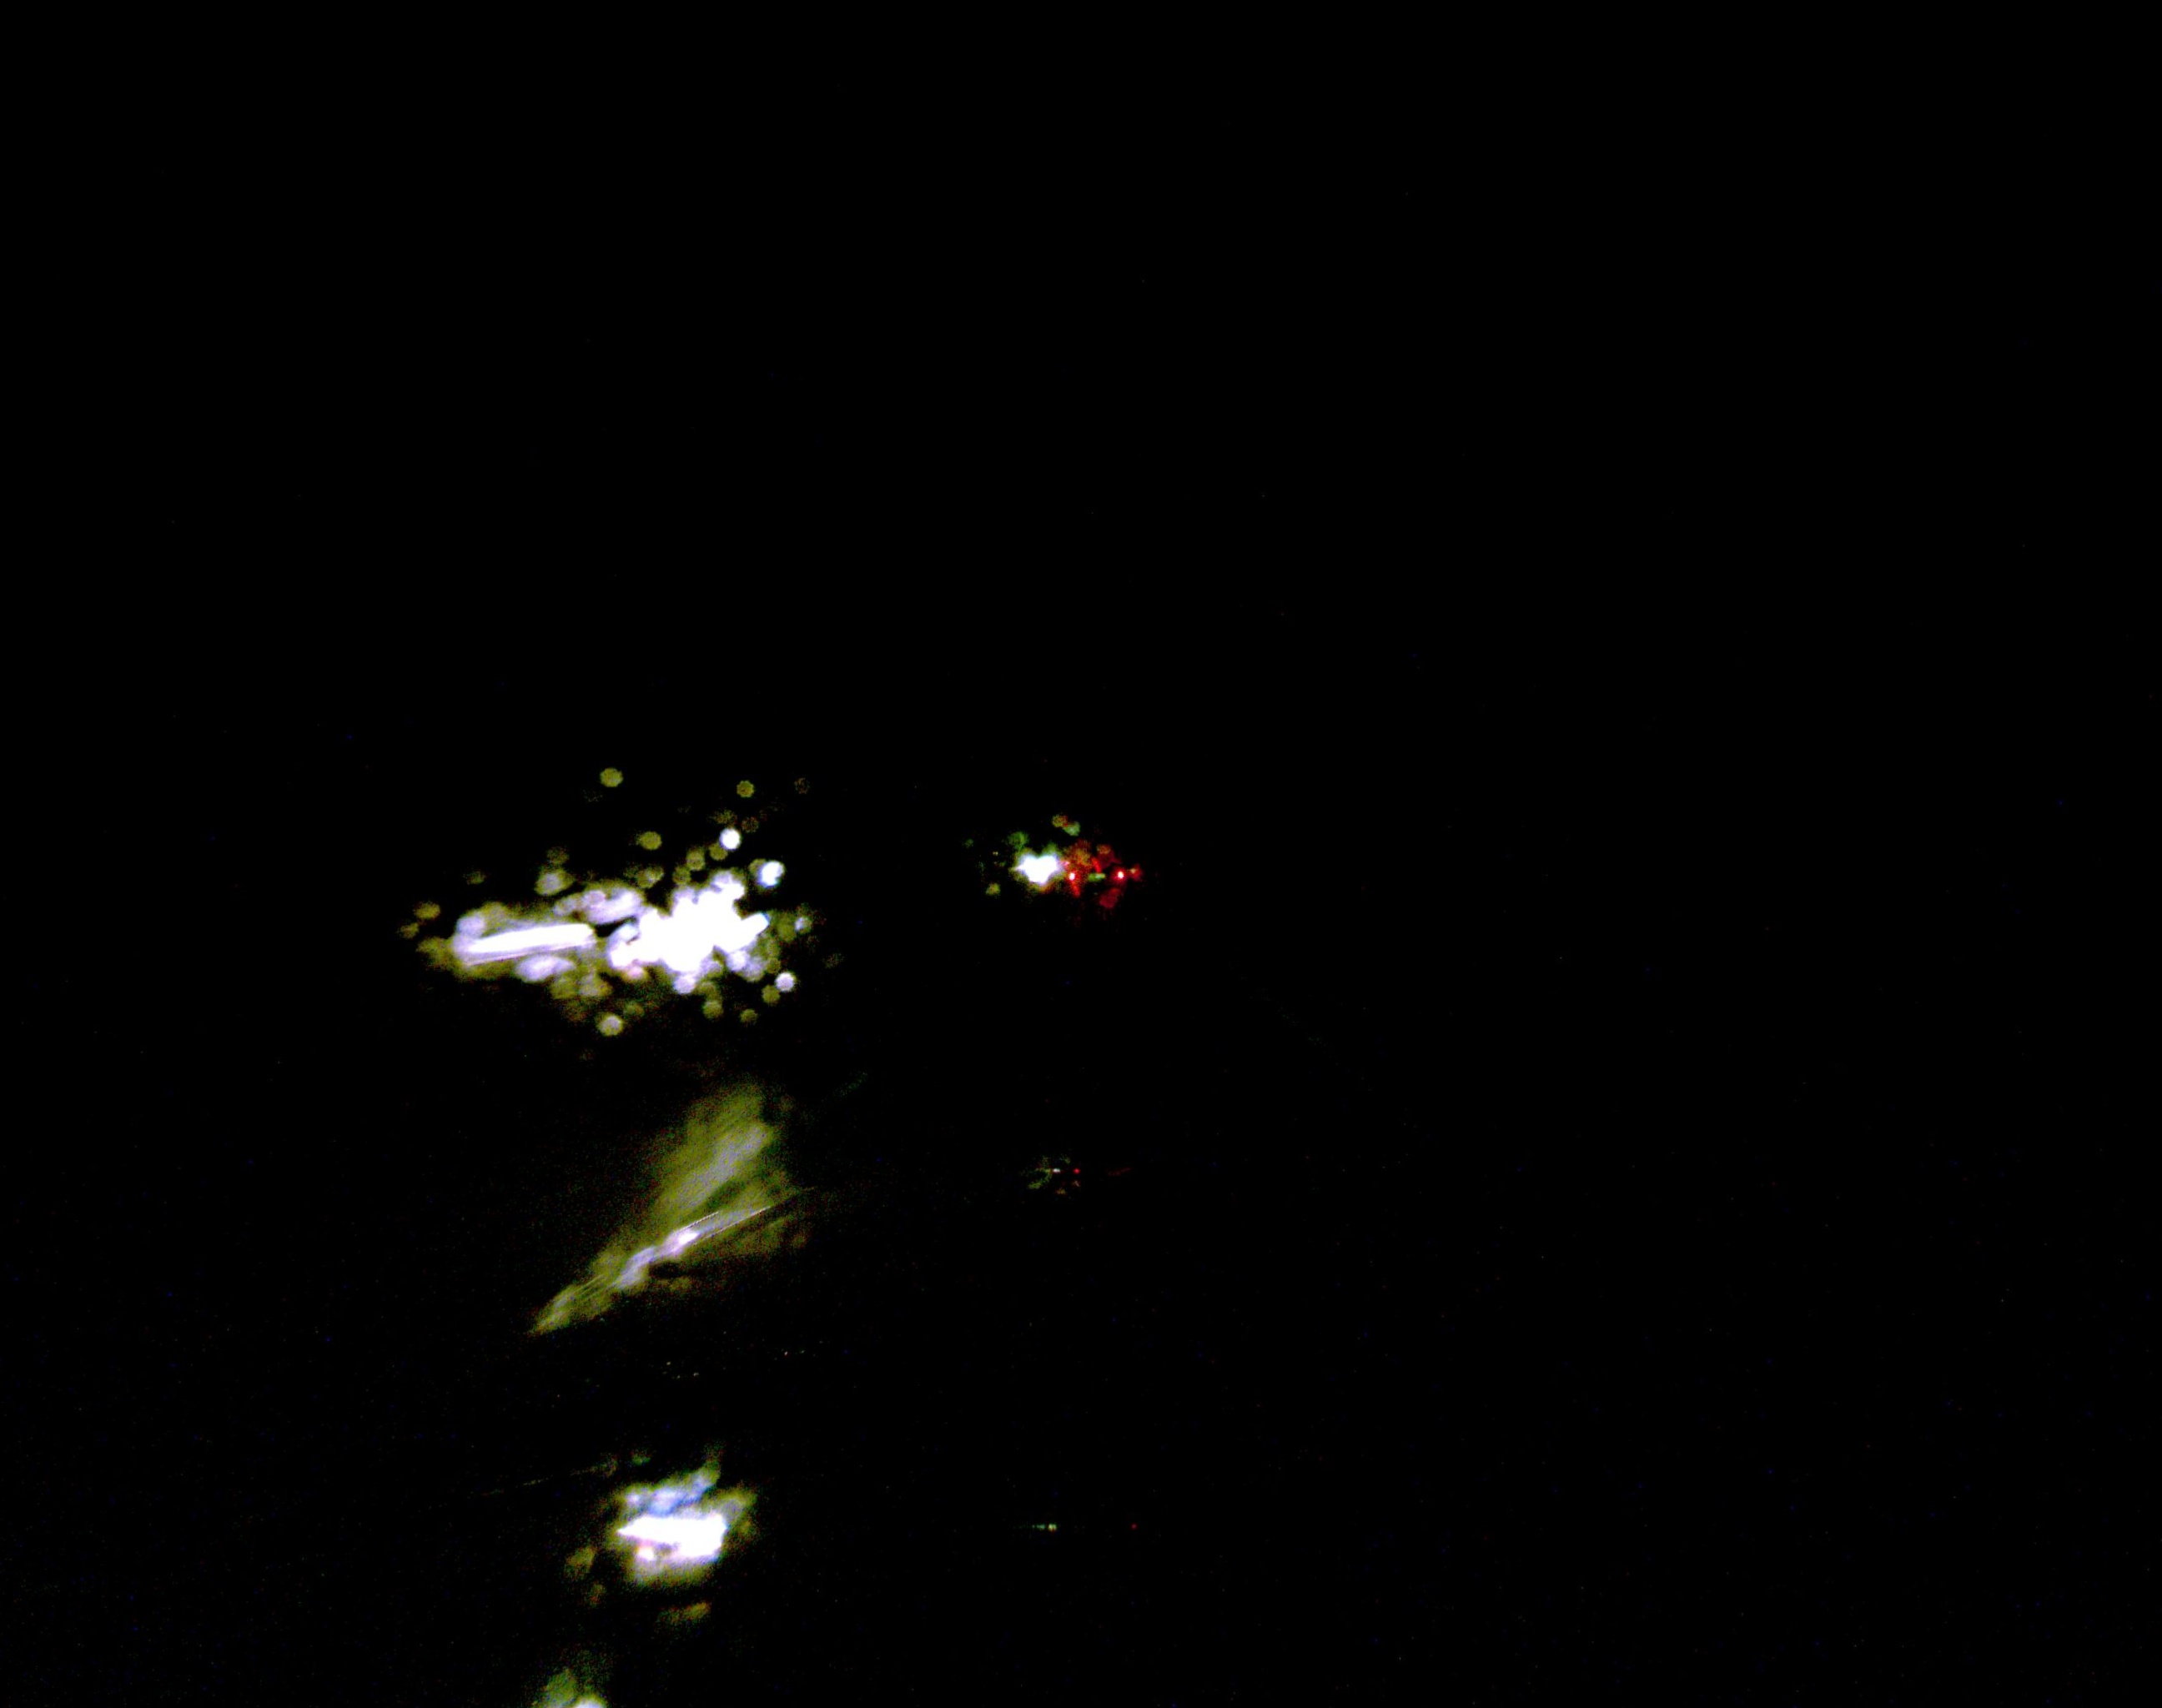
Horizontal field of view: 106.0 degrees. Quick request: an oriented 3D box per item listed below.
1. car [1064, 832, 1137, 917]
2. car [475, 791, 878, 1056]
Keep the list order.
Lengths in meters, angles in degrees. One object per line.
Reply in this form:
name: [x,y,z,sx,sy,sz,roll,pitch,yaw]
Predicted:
car: [0.639,0.586,27.376,2.173,2.557,4.509,2,1,1]
car: [-3.754,0.539,8.671,1.987,2.013,4.455,-2,0,0]
